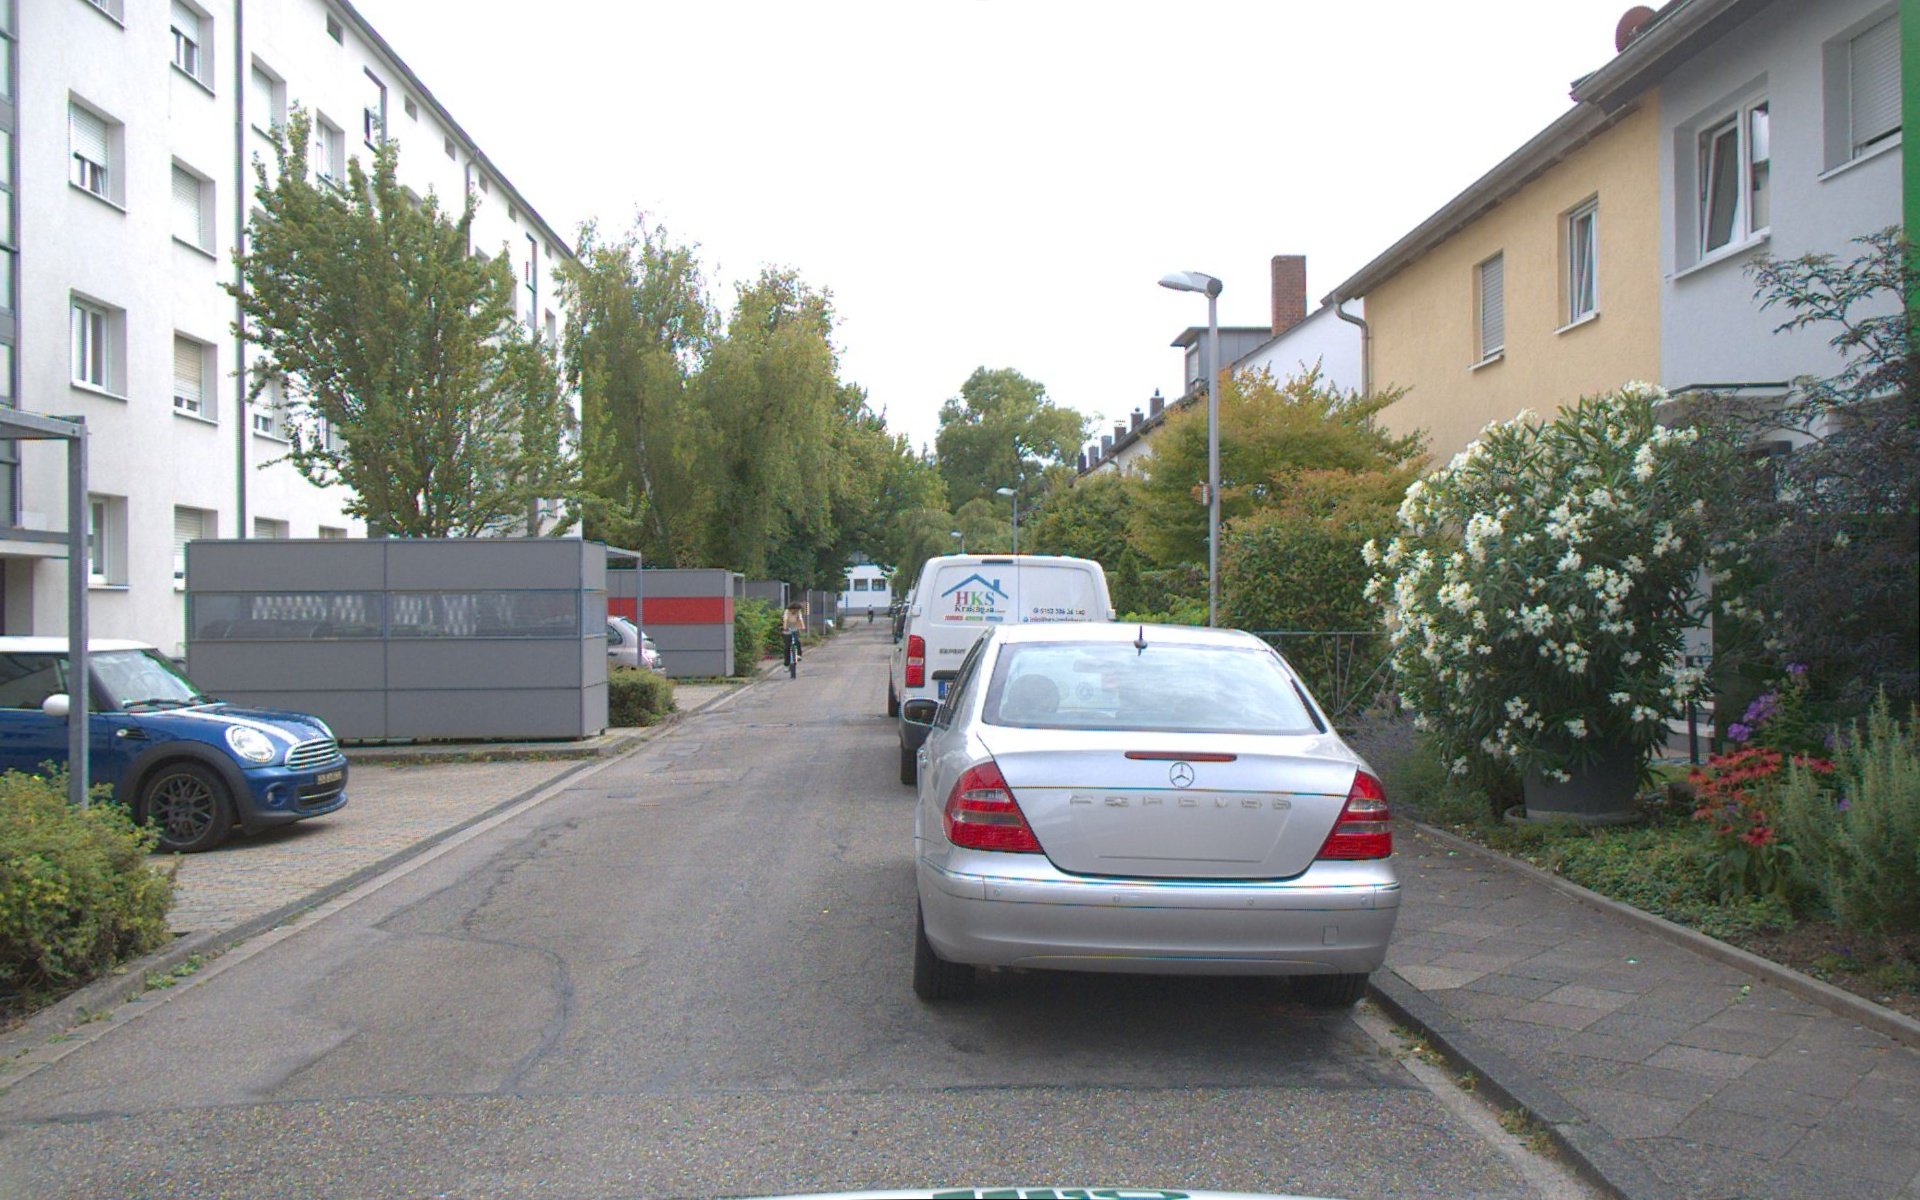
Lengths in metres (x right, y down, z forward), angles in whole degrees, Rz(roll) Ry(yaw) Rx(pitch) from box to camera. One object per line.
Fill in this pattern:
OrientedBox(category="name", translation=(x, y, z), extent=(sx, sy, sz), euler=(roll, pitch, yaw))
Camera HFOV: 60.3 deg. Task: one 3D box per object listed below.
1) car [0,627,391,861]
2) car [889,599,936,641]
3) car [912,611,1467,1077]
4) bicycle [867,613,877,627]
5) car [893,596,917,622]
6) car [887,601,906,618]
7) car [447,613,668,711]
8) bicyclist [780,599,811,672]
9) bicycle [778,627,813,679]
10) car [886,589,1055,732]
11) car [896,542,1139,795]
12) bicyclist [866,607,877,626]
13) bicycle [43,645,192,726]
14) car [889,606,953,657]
OrientedBox(category="car", translation=(-6.182, 1.002, 11.897), extent=(3.560, 1.487, 1.653), euler=(-2, 0, 1))
OrientedBox(category="car", translation=(-1.977, 0.803, 67.858), extent=(1.789, 1.609, 3.997), euler=(1, 0, -4))
OrientedBox(category="car", translation=(0.700, 0.786, 7.451), extent=(1.747, 1.445, 4.454), euler=(1, 0, -1))
OrientedBox(category="bicycle", translation=(-7.131, 1.622, 133.515), extent=(0.675, 1.151, 2.579), euler=(1, 0, 0))
OrientedBox(category="car", translation=(-4.122, 0.670, 124.338), extent=(1.788, 1.916, 3.998), euler=(1, 0, -2))
OrientedBox(category="car", translation=(-6.348, 0.912, 165.194), extent=(1.788, 1.609, 3.998), euler=(1, 0, -2))
OrientedBox(category="car", translation=(-6.924, 1.045, 28.724), extent=(3.494, 1.506, 1.708), euler=(-2, 0, -7))
OrientedBox(category="bicyclist", translation=(-3.712, 0.795, 37.396), extent=(0.585, 1.608, 0.767), euler=(-2, 0, -1))
OrientedBox(category="bicycle", translation=(-3.700, 1.187, 37.364), extent=(0.585, 1.095, 2.042), euler=(-2, 0, -1))
OrientedBox(category="car", translation=(0.036, 0.724, 21.469), extent=(1.789, 1.664, 4.157), euler=(1, 0, -5))
OrientedBox(category="car", translation=(0.361, 0.560, 15.793), extent=(1.866, 1.999, 5.250), euler=(1, 0, -3))
OrientedBox(category="bicyclist", translation=(-7.133, 1.318, 133.492), extent=(0.782, 1.537, 0.934), euler=(1, -1, 0))
OrientedBox(category="bicycle", translation=(-11.730, 1.172, 23.080), extent=(1.796, 1.042, 0.471), euler=(-1, 0, -44))
OrientedBox(category="car", translation=(-1.172, 0.911, 49.009), extent=(1.788, 1.394, 4.329), euler=(1, 0, -2))
